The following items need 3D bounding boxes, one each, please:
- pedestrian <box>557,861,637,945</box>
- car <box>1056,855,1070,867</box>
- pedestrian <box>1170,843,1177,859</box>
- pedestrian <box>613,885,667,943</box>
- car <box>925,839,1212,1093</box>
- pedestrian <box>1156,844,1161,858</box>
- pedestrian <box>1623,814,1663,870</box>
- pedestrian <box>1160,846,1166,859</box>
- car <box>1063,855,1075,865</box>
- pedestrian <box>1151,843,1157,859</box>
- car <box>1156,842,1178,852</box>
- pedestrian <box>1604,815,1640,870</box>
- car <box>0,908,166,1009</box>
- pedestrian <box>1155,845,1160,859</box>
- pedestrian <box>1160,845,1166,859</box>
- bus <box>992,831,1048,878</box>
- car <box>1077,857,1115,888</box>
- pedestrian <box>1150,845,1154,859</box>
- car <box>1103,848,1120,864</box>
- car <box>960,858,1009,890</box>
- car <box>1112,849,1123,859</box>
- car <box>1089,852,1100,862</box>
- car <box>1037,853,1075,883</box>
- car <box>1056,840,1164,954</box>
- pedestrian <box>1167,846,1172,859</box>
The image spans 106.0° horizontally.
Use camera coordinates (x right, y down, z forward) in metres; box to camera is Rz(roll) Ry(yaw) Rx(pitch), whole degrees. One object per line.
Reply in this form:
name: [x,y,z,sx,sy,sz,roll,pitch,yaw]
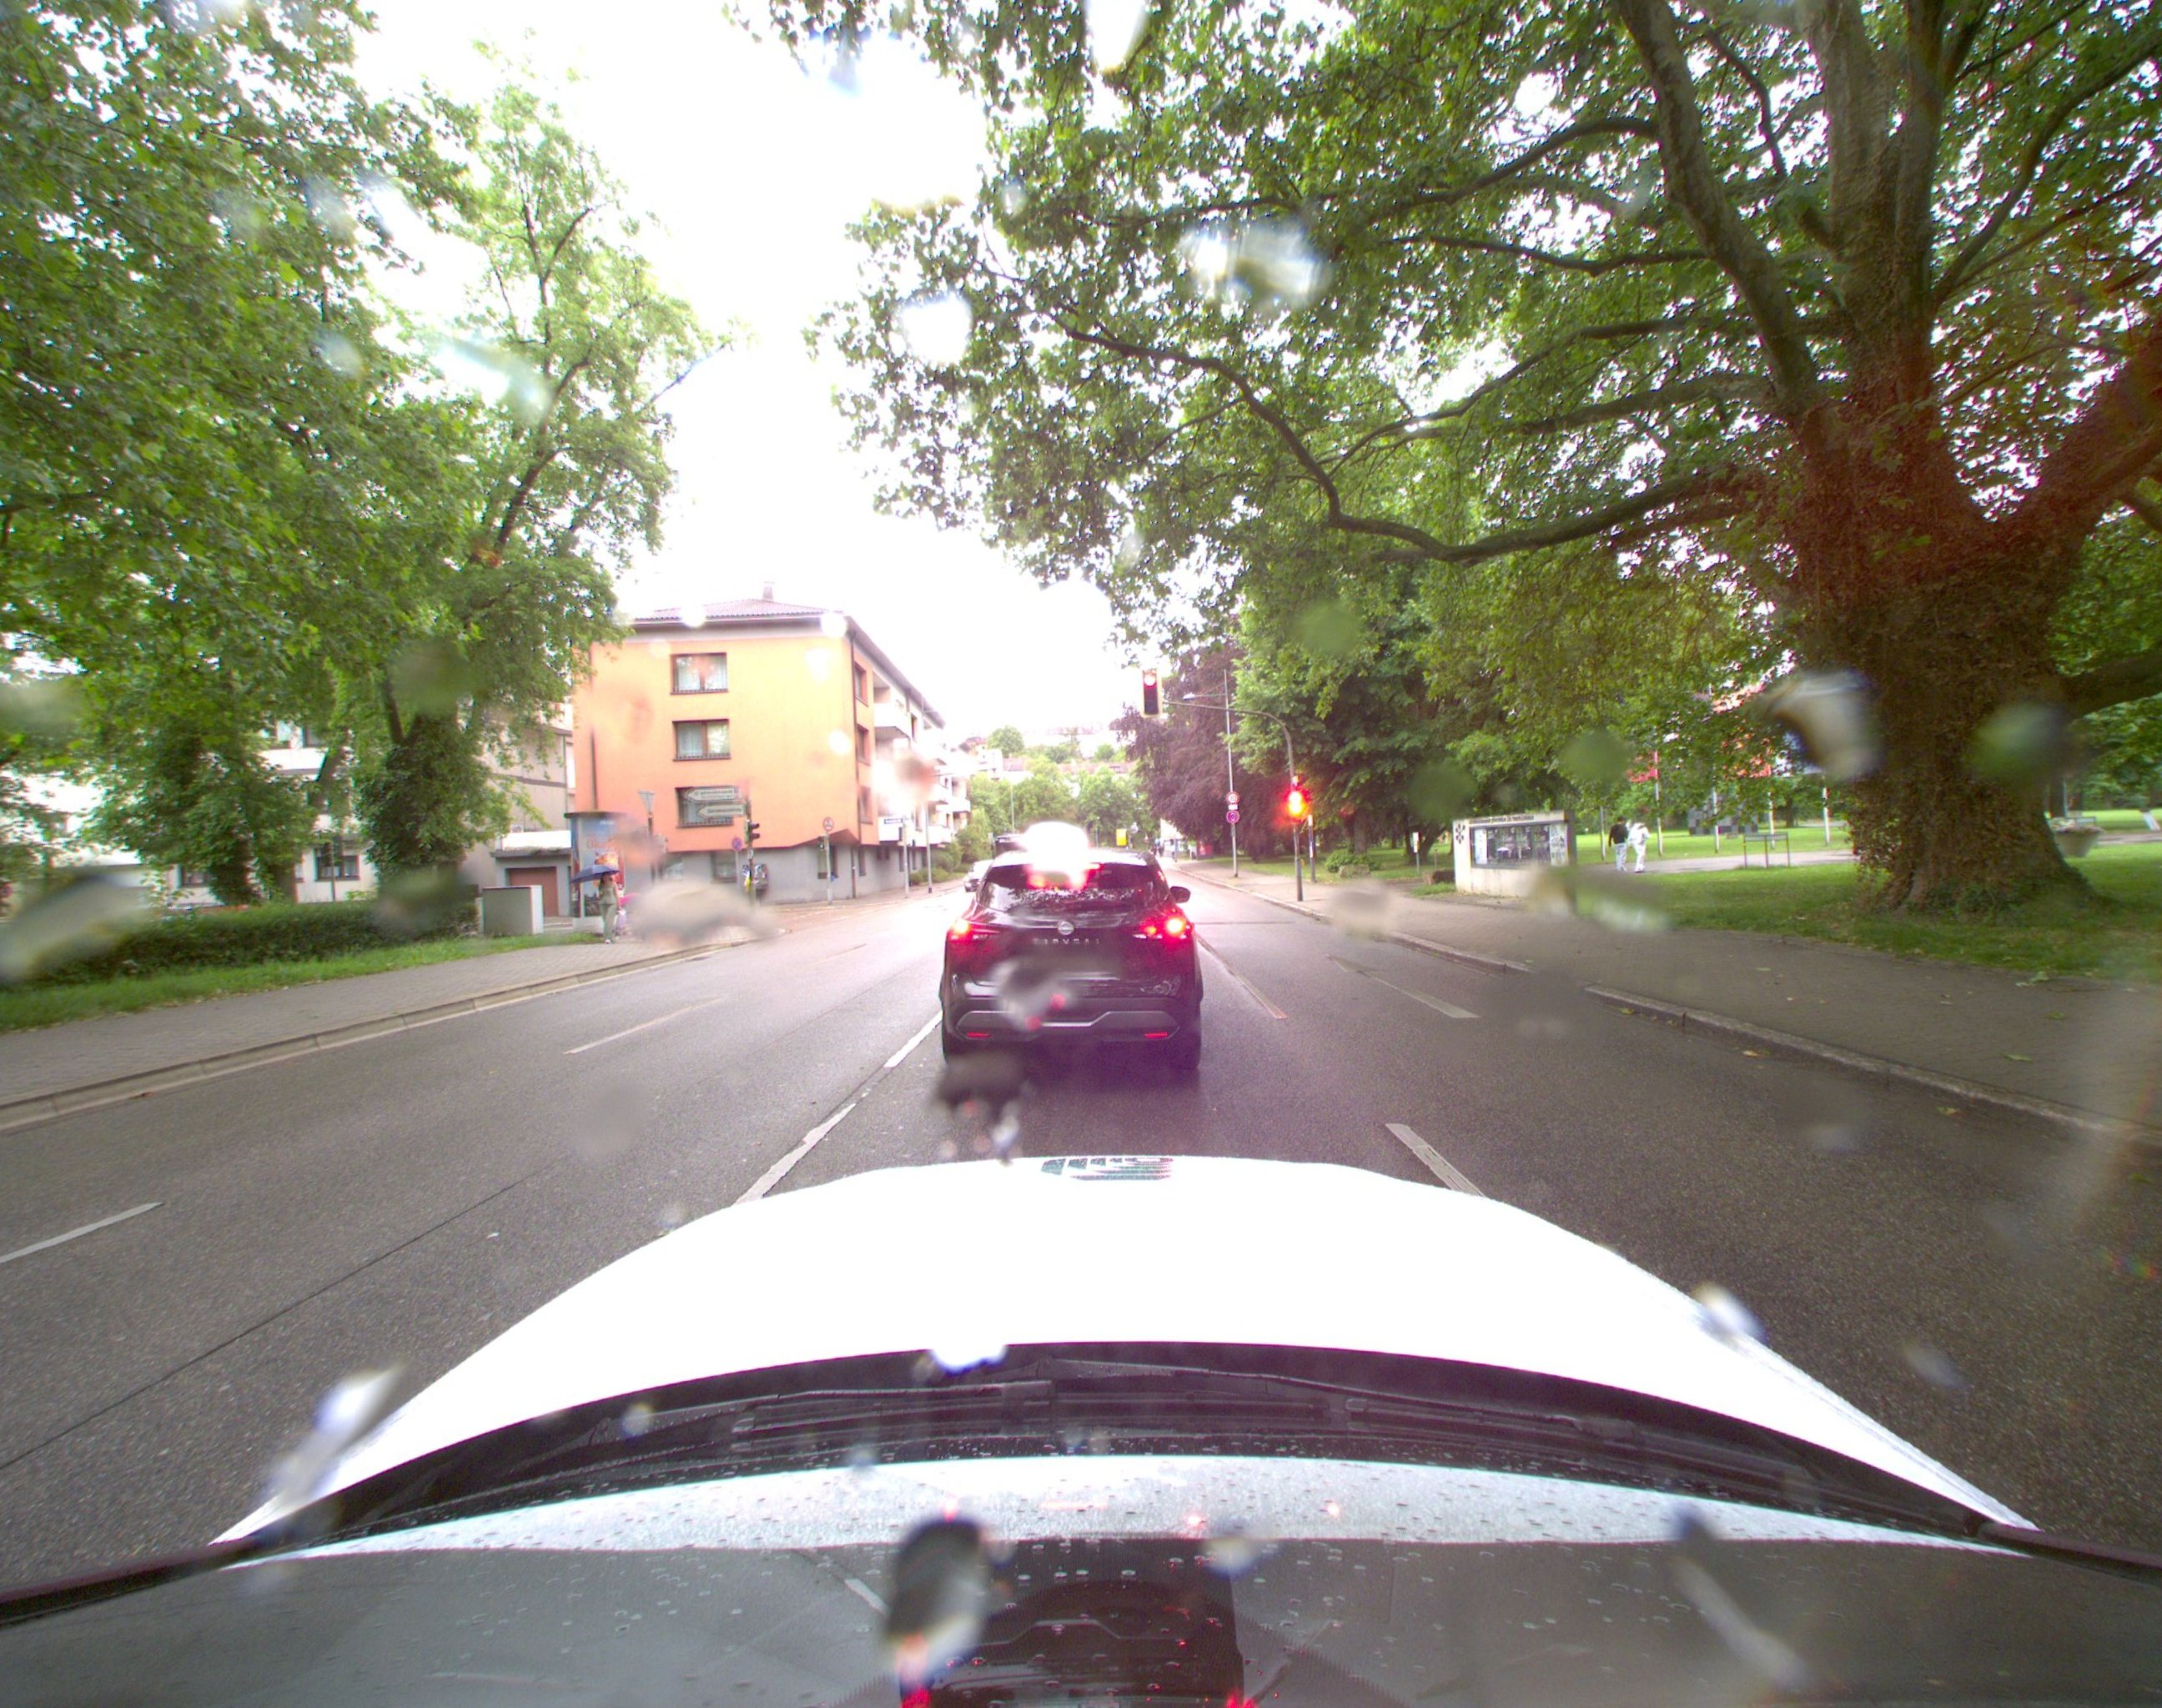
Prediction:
pedestrian: [-10.523,1.034,17.764,0.988,1.742,1.210,-1,0,1]
car: [-2.353,0.943,109.373,1.671,1.469,4.217,-4,0,1]
pedestrian: [10.658,-0.370,93.760,0.616,1.779,0.779,-3,0,1]
pedestrian: [-9.455,1.268,17.494,0.681,1.175,0.827,-1,0,1]
car: [-0.017,0.721,7.135,1.799,1.590,4.001,0,-1,2]
pedestrian: [9.397,-0.402,98.784,0.513,1.655,0.550,0,-1,1]
pedestrian: [17.492,-0.377,25.351,0.663,1.712,0.788,0,-1,-7]
pedestrian: [11.228,-0.171,111.193,0.616,1.779,0.551,-3,0,1]
car: [-1.829,0.859,123.102,1.671,1.296,3.752,-4,0,1]
pedestrian: [9.940,-0.425,111.148,0.764,2.183,0.712,0,-1,5]
car: [17.401,-1.428,164.222,3.986,1.684,1.994,-3,0,-9]
pedestrian: [17.701,-0.368,26.662,0.663,1.756,0.722,0,-1,-7]
car: [-18.003,1.739,13.810,3.182,1.524,1.507,0,-1,-1]
pedestrian: [9.418,-0.254,100.334,0.542,1.651,0.490,0,-1,2]
pedestrian: [10.093,-0.258,100.443,0.696,1.651,0.628,0,-1,2]
bus: [-4.295,0.044,60.332,2.756,2.974,11.786,-3,0,2]
car: [0.745,0.919,41.215,1.802,1.417,4.031,-2,0,1]
pedestrian: [8.742,-0.249,100.349,0.473,1.651,0.490,0,-1,2]
car: [3.159,0.192,83.277,1.618,1.415,3.456,-3,0,2]
car: [-4.814,0.969,41.097,1.802,1.417,4.031,-4,0,1]
car: [6.314,-0.050,139.607,1.743,1.633,3.636,-3,0,2]
car: [2.734,0.572,164.351,1.986,2.014,4.001,0,-1,2]
car: [-1.258,0.712,42.495,1.618,1.415,3.456,-3,0,2]
car: [0.574,0.672,14.747,1.615,1.709,3.774,-3,0,3]
pedestrian: [12.113,-0.204,111.735,0.616,1.779,0.551,-3,0,1]
